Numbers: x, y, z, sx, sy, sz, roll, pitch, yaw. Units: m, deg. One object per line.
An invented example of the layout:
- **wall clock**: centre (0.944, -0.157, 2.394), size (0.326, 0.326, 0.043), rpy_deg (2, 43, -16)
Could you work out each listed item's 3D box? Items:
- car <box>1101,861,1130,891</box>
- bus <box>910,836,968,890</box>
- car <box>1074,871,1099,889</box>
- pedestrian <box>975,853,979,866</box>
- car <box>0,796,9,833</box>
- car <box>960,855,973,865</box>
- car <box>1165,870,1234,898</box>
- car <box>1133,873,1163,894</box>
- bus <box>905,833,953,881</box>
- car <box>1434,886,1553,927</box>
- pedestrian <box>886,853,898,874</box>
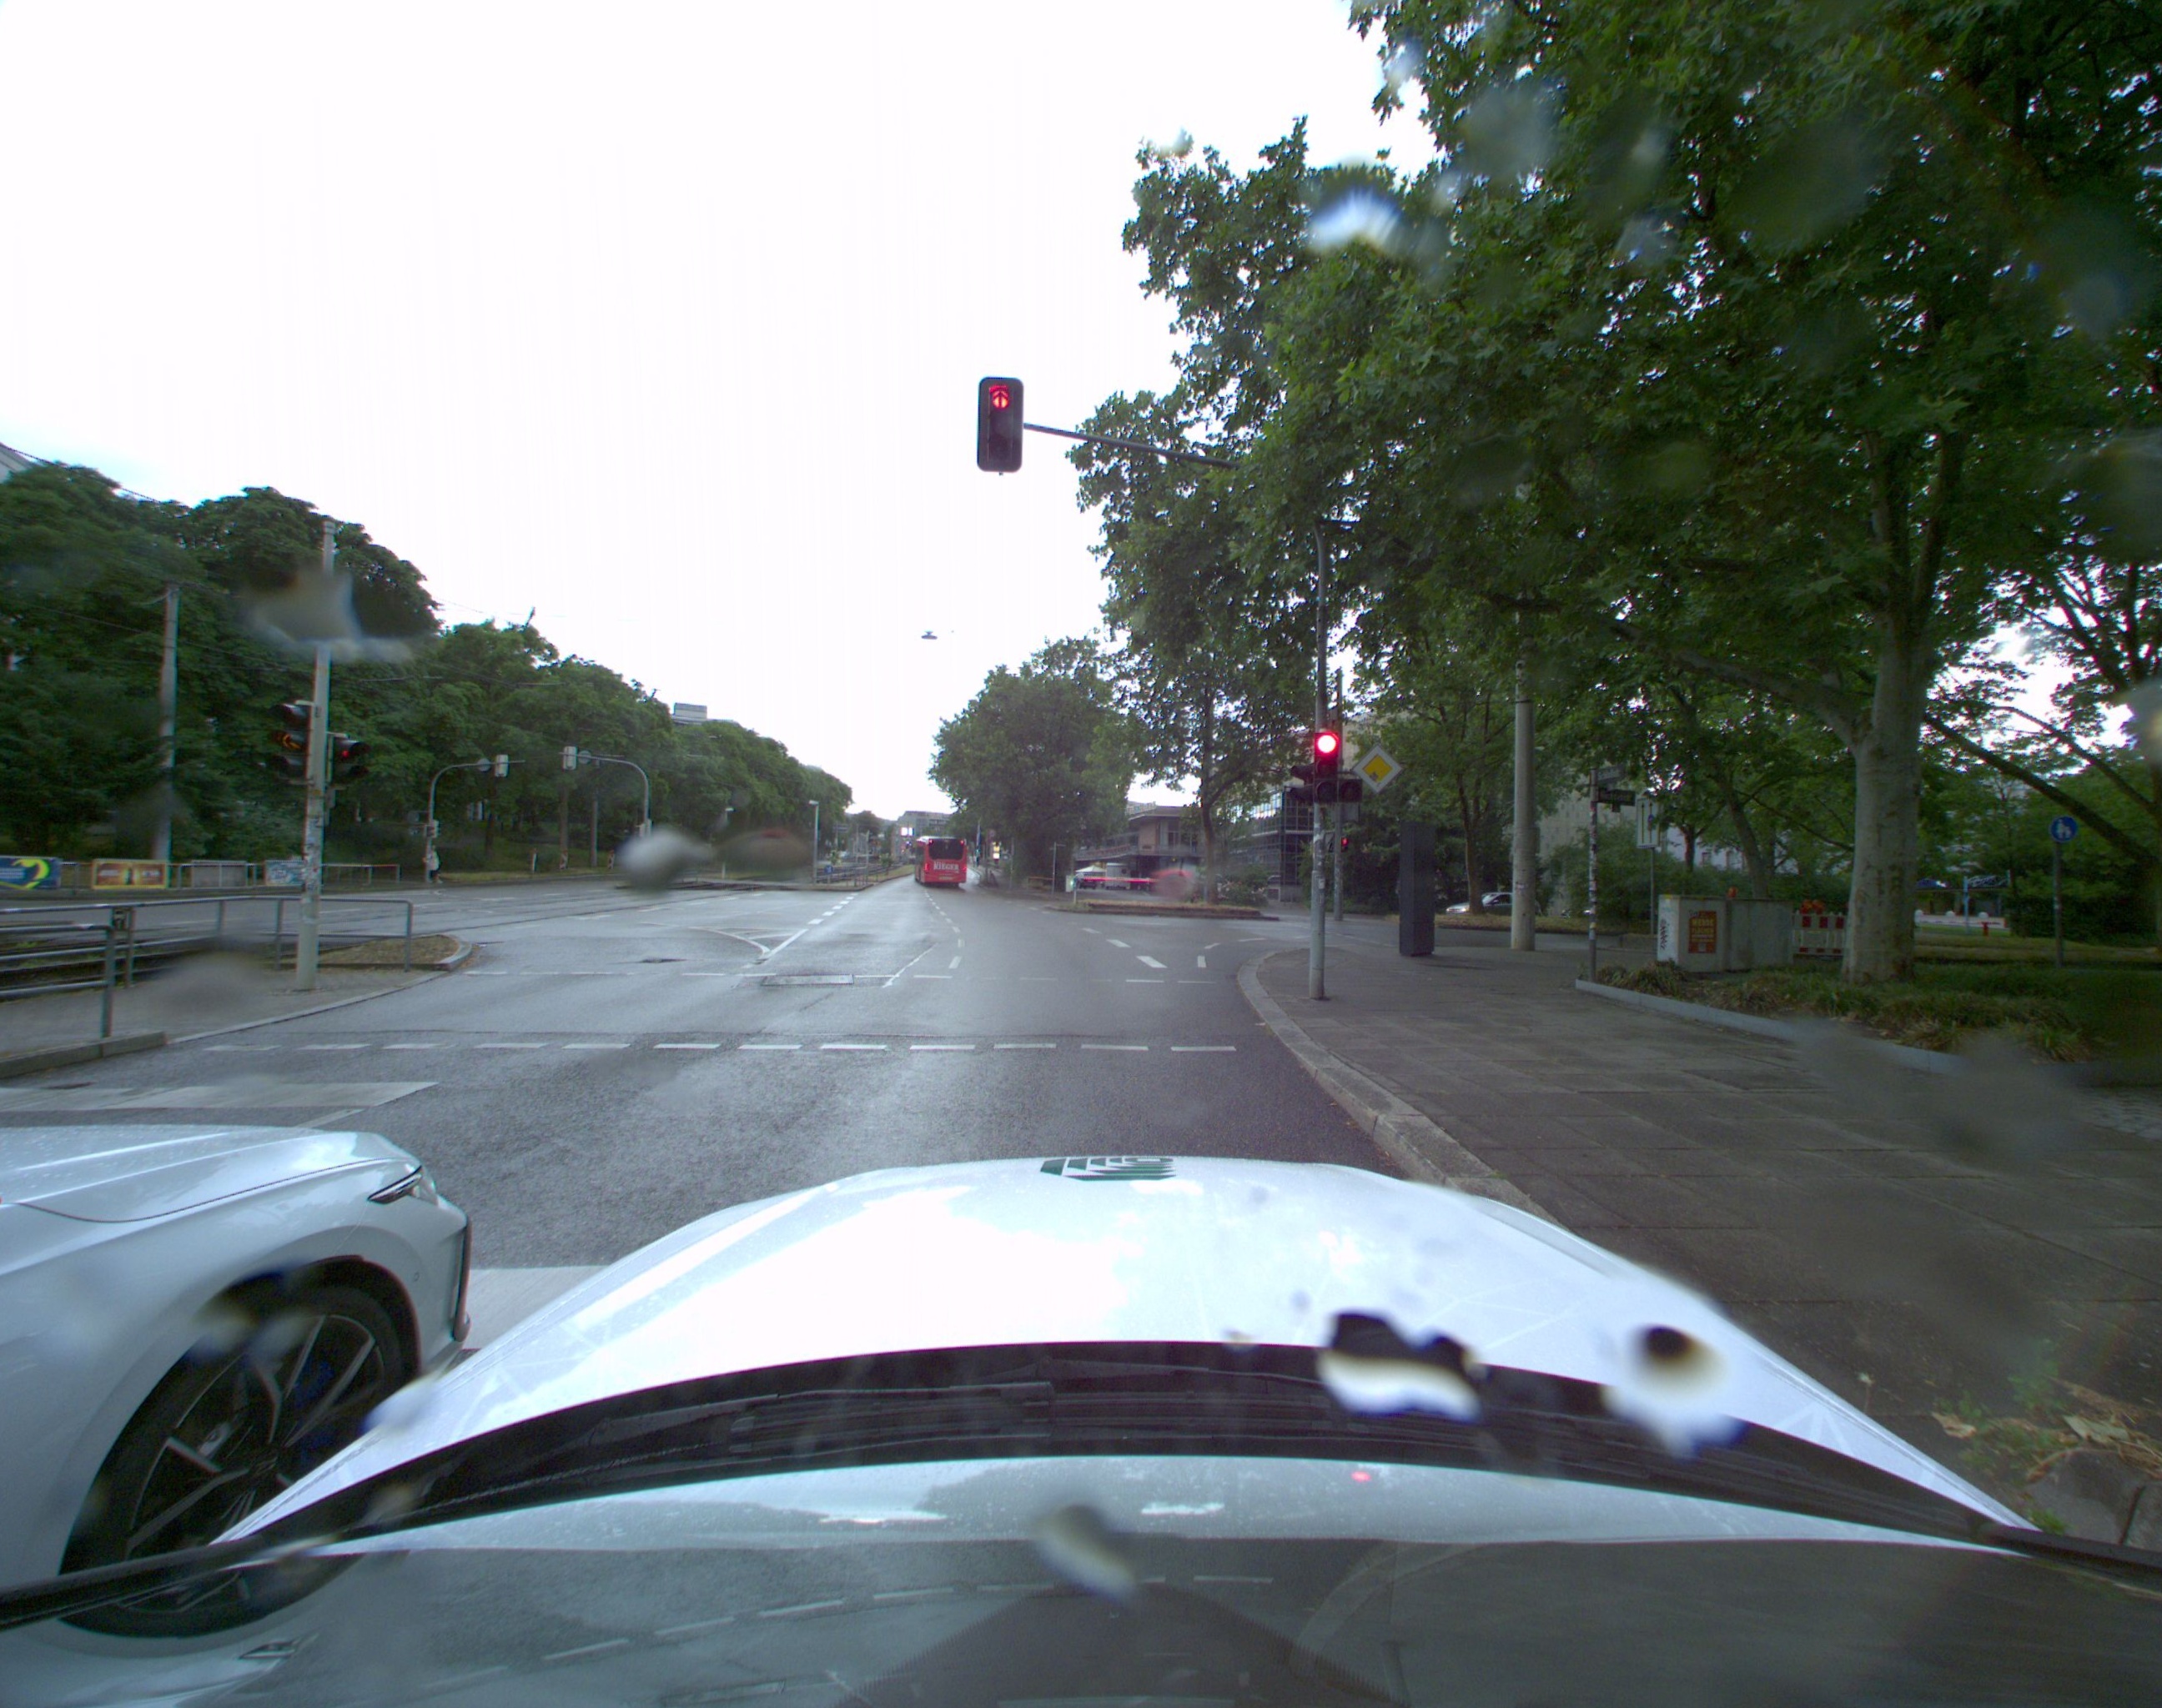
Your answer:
- **car**: centre (3.768, 2.451, 90.520), size (2.539, 3.134, 5.024), rpy_deg (3, -2, -3)
- **bus**: centre (-9.423, 0.583, 53.303), size (2.660, 3.111, 9.135), rpy_deg (3, -2, -16)
- **car**: centre (0.522, 2.772, 88.054), size (1.993, 1.860, 3.987), rpy_deg (3, -2, -9)
- **pedestrian**: centre (-13.963, 0.757, 108.861), size (0.370, 1.708, 0.644), rpy_deg (2, -1, 2)
- **car**: centre (-52.939, -1.972, 37.896), size (2.005, 1.794, 4.172), rpy_deg (4, -2, -28)
- **car**: centre (-20.620, 1.039, 146.733), size (1.995, 1.684, 3.984), rpy_deg (3, -2, -12)
- **car**: centre (9.008, 2.279, 61.961), size (4.762, 1.943, 1.986), rpy_deg (3, -2, -20)
- **car**: centre (6.897, 3.065, 84.409), size (1.994, 2.014, 3.985), rpy_deg (3, -2, -10)
- **bus**: centre (-11.341, 0.253, 60.018), size (2.555, 3.111, 9.405), rpy_deg (3, -2, -15)
- **car**: centre (17.300, 2.194, 34.263), size (3.980, 1.442, 1.997), rpy_deg (3, -2, -5)
- **pedestrian**: centre (-14.586, 0.738, 62.809), size (0.737, 1.640, 0.868), rpy_deg (3, -2, -8)
